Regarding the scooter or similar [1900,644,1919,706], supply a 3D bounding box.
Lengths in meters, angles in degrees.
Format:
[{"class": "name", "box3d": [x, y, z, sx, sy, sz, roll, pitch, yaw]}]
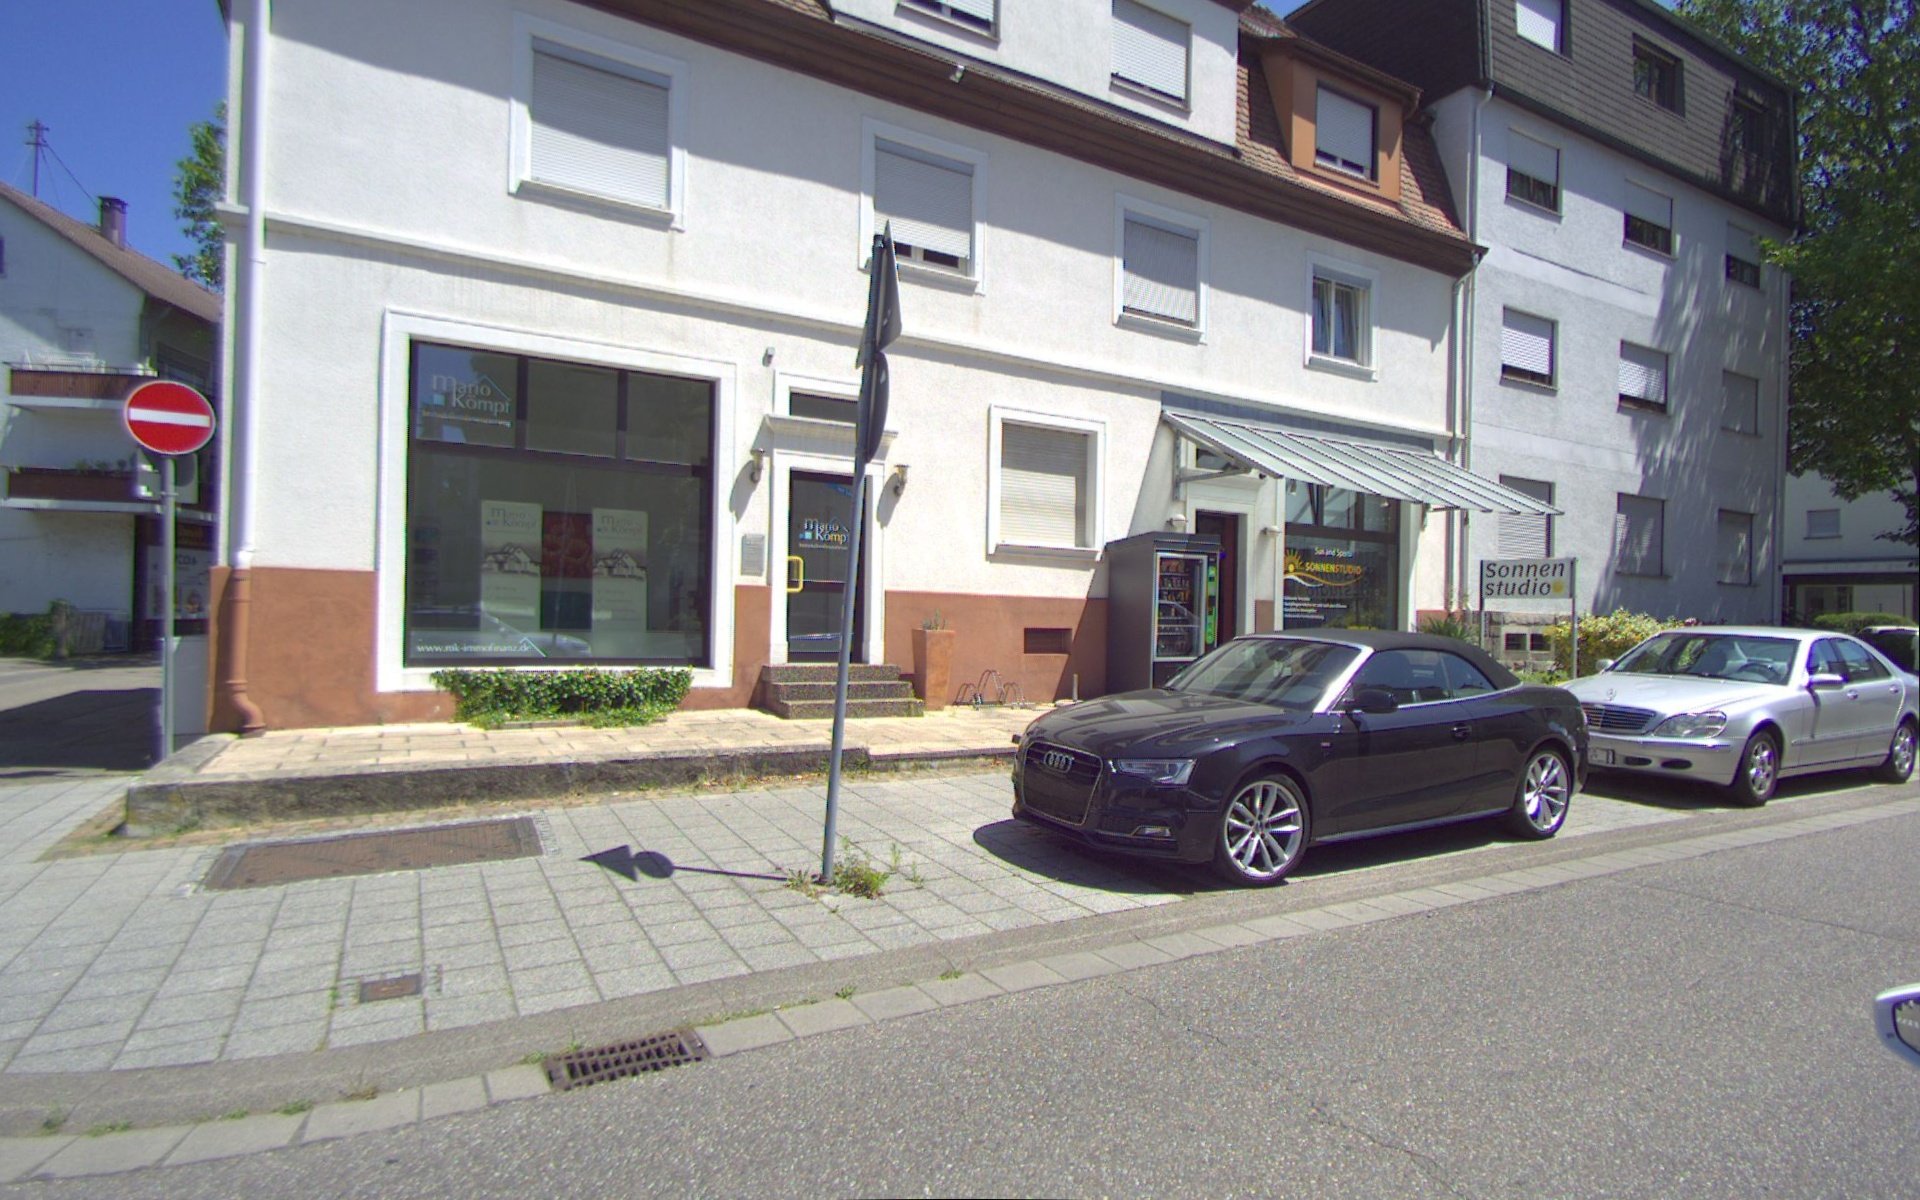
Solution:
[{"class": "scooter or similar", "box3d": [17.900, 1.381, 18.408, 1.015, 1.113, 0.660, 1, 2, -28]}]

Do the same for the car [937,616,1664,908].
[{"class": "car", "box3d": [2.514, 0.870, 7.019, 5.036, 1.392, 1.934, 2, 0, -29]}]

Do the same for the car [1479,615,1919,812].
[{"class": "car", "box3d": [7.731, 0.958, 9.974, 5.292, 1.471, 1.972, 2, 0, -29]}]

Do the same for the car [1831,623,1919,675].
[{"class": "car", "box3d": [28.988, 1.487, 31.457, 1.863, 1.506, 3.988, 1, -1, 30]}]

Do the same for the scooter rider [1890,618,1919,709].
[{"class": "scooter rider", "box3d": [17.390, 1.144, 18.126, 0.866, 1.596, 0.586, 1, 2, -28]}]
